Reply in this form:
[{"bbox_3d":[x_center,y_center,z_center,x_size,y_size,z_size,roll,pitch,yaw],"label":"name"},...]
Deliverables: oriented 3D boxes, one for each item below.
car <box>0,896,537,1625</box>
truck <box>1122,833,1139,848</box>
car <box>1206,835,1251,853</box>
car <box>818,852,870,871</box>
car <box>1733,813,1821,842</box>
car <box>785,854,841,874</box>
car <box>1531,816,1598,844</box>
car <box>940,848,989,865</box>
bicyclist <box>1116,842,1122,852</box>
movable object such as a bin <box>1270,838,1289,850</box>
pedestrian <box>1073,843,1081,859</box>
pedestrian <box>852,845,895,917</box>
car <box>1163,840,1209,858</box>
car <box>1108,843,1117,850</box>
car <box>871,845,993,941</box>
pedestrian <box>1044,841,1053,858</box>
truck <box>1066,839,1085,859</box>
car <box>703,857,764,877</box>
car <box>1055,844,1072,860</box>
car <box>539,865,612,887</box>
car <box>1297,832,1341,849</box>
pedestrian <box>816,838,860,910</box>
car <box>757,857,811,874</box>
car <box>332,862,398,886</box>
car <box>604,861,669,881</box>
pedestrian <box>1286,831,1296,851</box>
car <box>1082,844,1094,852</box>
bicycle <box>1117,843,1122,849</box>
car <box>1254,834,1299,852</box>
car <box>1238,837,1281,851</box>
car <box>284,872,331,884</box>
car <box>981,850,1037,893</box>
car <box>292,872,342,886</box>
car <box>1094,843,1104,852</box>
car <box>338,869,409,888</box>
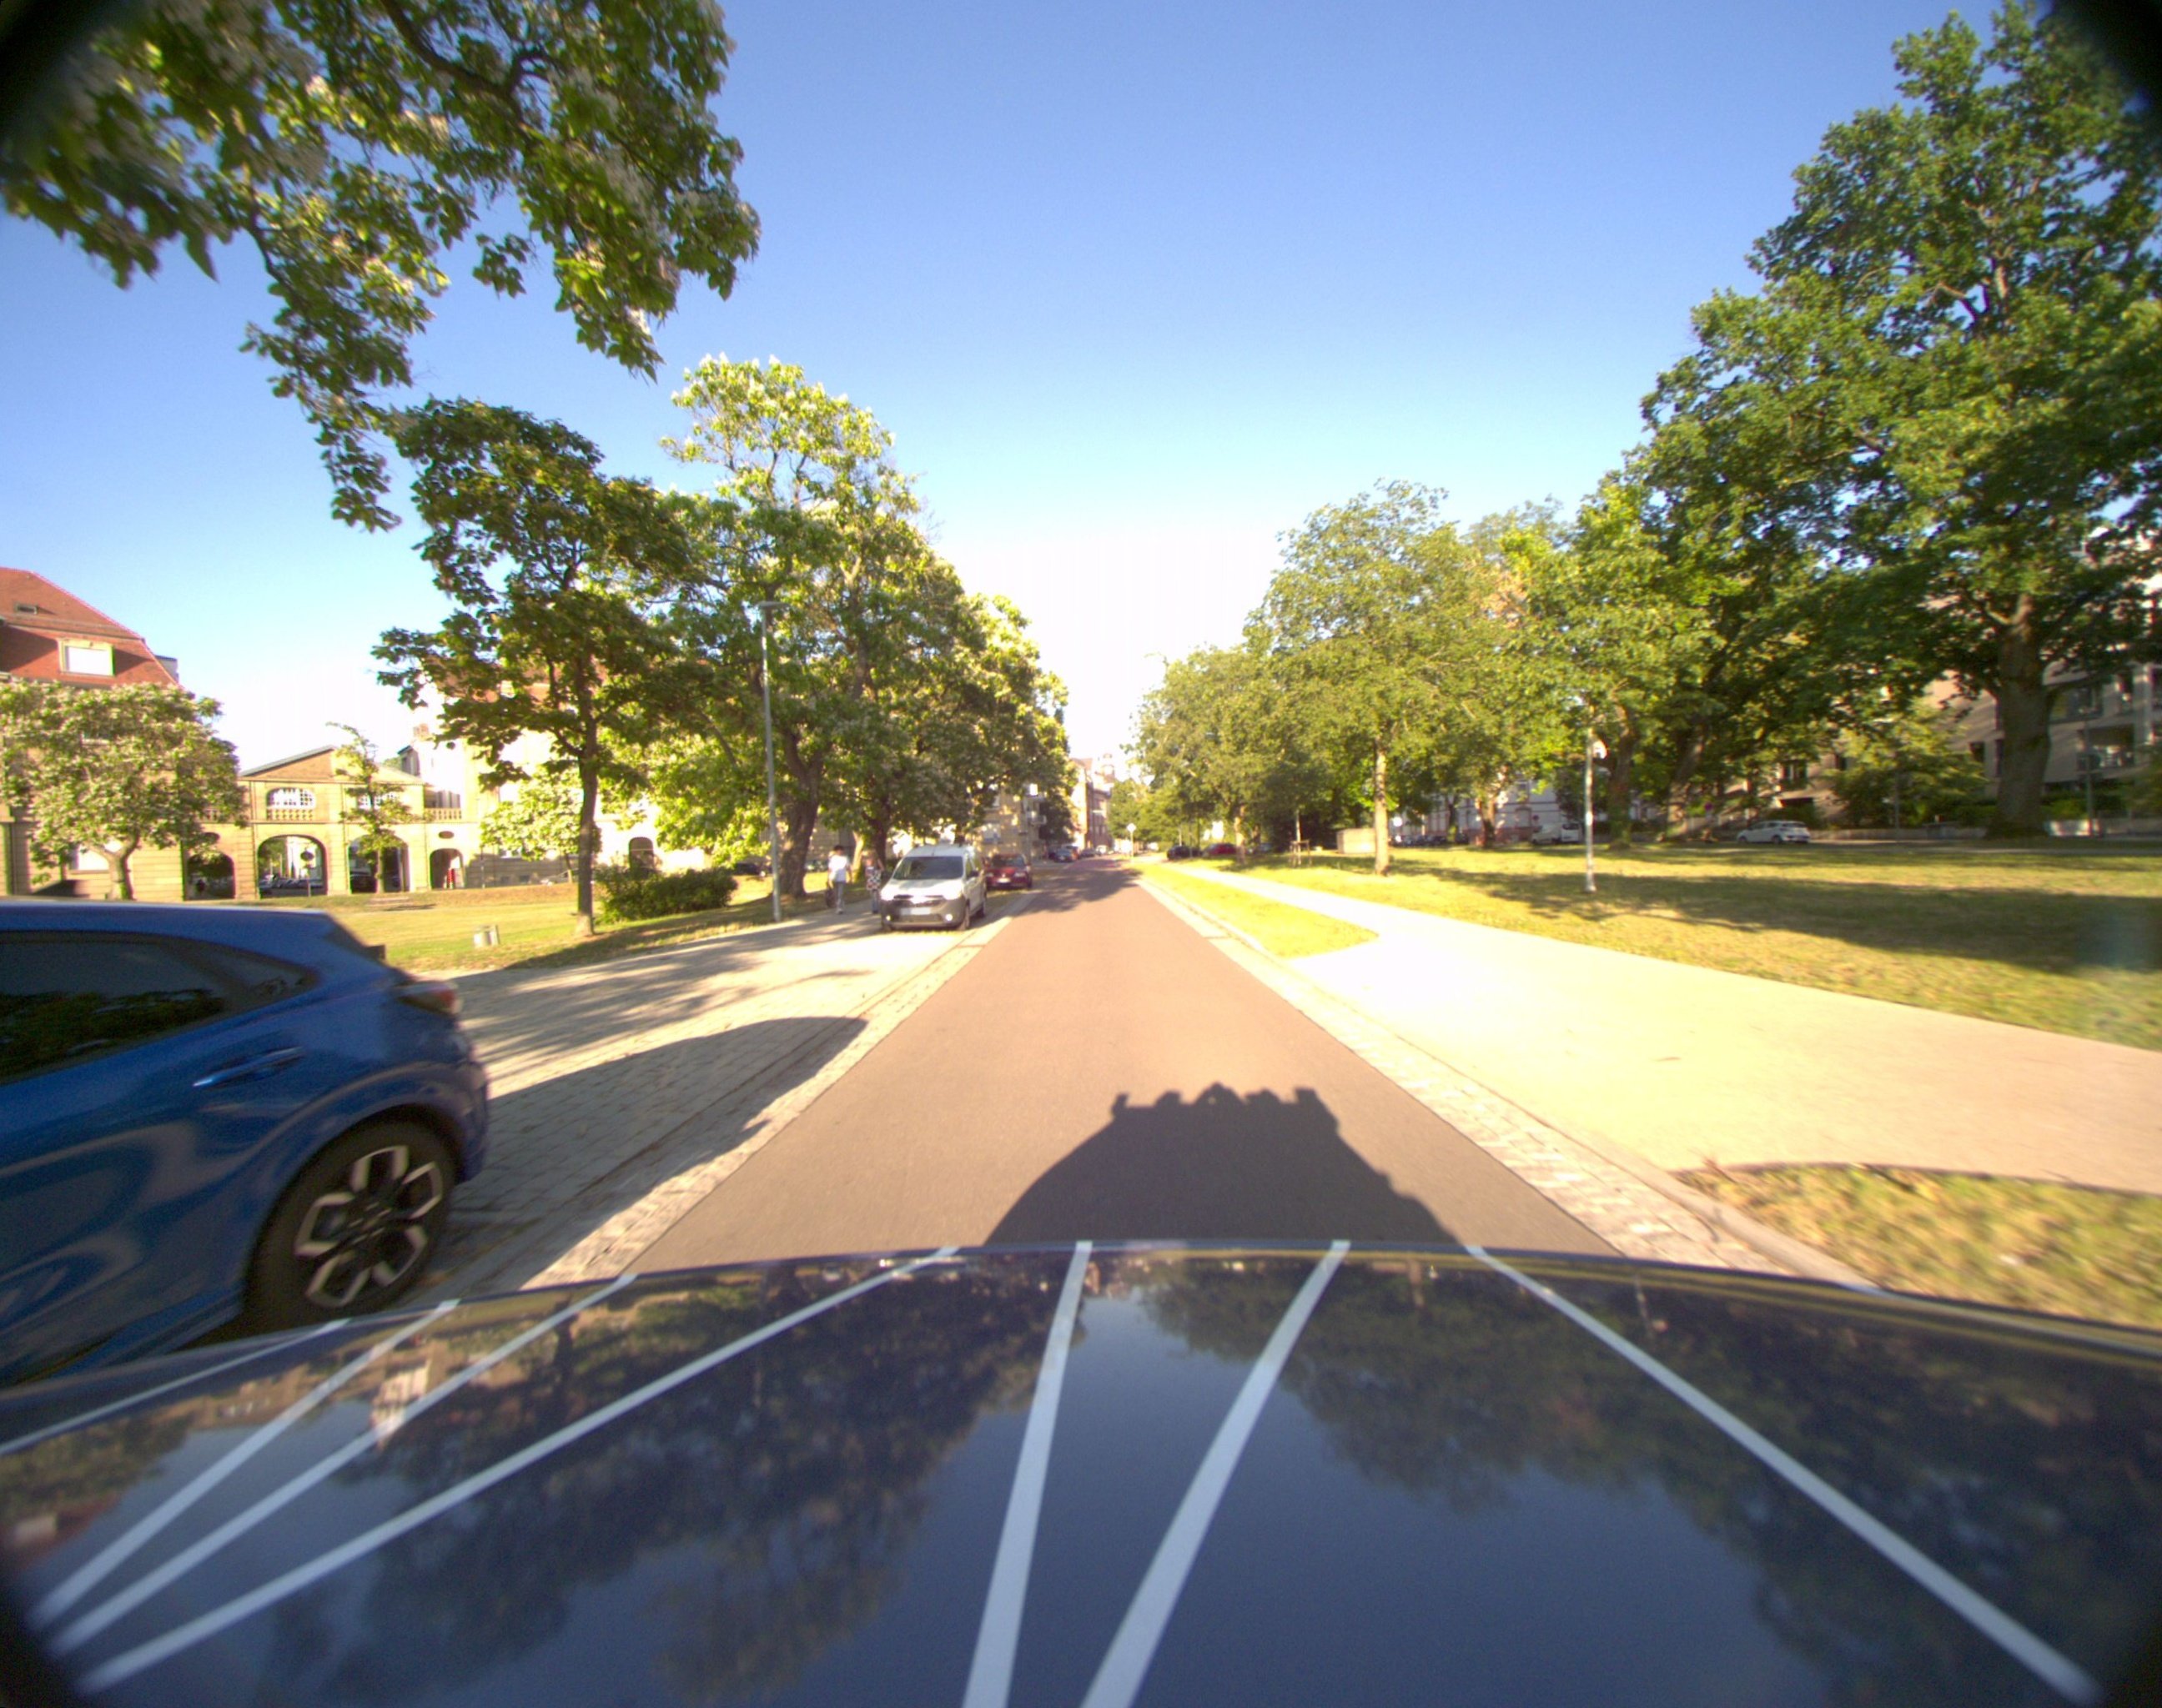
[{"bbox_3d":[-3.377,1.030,1.236,1.736,1.542,4.275,-2,1,2],"label":"car"},{"bbox_3d":[12.620,-3.475,193.795,3.018,3.423,7.628,-2,1,13],"label":"truck"},{"bbox_3d":[14.651,-0.970,75.316,4.004,1.565,1.886,-3,3,-24],"label":"car"},{"bbox_3d":[-21.961,0.672,70.584,4.456,1.591,1.800,-2,2,-17],"label":"car"},{"bbox_3d":[42.969,-1.621,47.037,1.998,1.609,3.737,-3,1,1],"label":"car"},{"bbox_3d":[-22.662,0.824,64.288,4.370,1.409,1.842,-2,2,-19],"label":"car"},{"bbox_3d":[40.578,-2.011,63.941,2.675,2.102,4.970,-3,1,5],"label":"car"},{"bbox_3d":[-11.026,0.240,72.232,4.452,1.411,1.934,-2,2,-4],"label":"car"},{"bbox_3d":[6.726,-1.173,133.325,0.939,1.693,0.906,-2,1,7],"label":"bicyclist"},{"bbox_3d":[17.088,-0.861,65.503,1.332,0.984,0.949,-2,2,1],"label":"movable object such as a bin"},{"bbox_3d":[-0.493,-0.333,85.236,0.778,1.759,0.955,-3,1,2],"label":"pedestrian"},{"bbox_3d":[-5.125,0.649,18.804,0.755,1.726,0.731,-3,1,2],"label":"pedestrian"},{"bbox_3d":[10.158,-0.497,73.710,4.004,1.565,1.886,-3,3,-24],"label":"car"},{"bbox_3d":[6.989,-1.723,166.611,1.582,1.499,3.848,-2,1,8],"label":"car"},{"bbox_3d":[-3.087,0.715,16.648,1.682,1.730,4.513,-2,1,1],"label":"car"},{"bbox_3d":[-3.655,-0.535,84.695,0.733,1.820,0.555,-4,1,-35],"label":"pedestrian"},{"bbox_3d":[-0.765,-0.700,106.040,2.133,2.550,6.876,-2,1,3],"label":"truck"},{"bbox_3d":[-28.342,1.059,62.157,4.443,1.409,1.563,-2,2,-22],"label":"car"},{"bbox_3d":[-1.890,-0.223,83.370,1.707,1.616,4.348,0,0,1],"label":"car"},{"bbox_3d":[-38.104,1.616,57.383,4.377,1.409,1.815,-3,2,-29],"label":"car"},{"bbox_3d":[24.651,-1.403,78.797,4.003,1.565,1.887,-3,3,-19],"label":"car"},{"bbox_3d":[-6.014,0.477,18.820,0.727,1.726,0.731,-3,1,2],"label":"pedestrian"},{"bbox_3d":[-27.000,0.990,69.090,4.457,1.317,1.502,-2,2,-21],"label":"car"},{"bbox_3d":[-69.499,1.930,73.785,1.814,2.096,4.379,-1,2,38],"label":"car"},{"bbox_3d":[-37.689,1.440,64.519,4.657,1.409,1.815,-3,2,-30],"label":"car"},{"bbox_3d":[18.078,-1.097,65.436,0.663,1.686,0.672,-3,1,3],"label":"pedestrian"},{"bbox_3d":[1.136,-0.999,129.424,1.610,1.349,3.549,-2,1,7],"label":"car"},{"bbox_3d":[6.713,-1.393,133.313,0.739,1.129,2.105,-2,1,8],"label":"bicycle"},{"bbox_3d":[19.880,-1.130,77.191,4.003,1.565,1.887,-3,3,-20],"label":"car"},{"bbox_3d":[19.617,-1.064,83.541,4.280,1.393,1.836,-2,2,-21],"label":"car"},{"bbox_3d":[-105.876,3.277,104.022,1.814,1.409,4.379,-1,2,41],"label":"car"},{"bbox_3d":[-2.804,0.641,30.583,1.682,1.477,4.808,-2,1,1],"label":"car"},{"bbox_3d":[-97.769,3.165,97.238,1.814,1.409,4.379,-1,2,41],"label":"car"},{"bbox_3d":[3.487,-1.257,145.164,1.509,1.438,3.731,-2,1,7],"label":"car"},{"bbox_3d":[-64.789,2.213,69.647,1.814,1.409,4.379,-1,2,36],"label":"car"}]
